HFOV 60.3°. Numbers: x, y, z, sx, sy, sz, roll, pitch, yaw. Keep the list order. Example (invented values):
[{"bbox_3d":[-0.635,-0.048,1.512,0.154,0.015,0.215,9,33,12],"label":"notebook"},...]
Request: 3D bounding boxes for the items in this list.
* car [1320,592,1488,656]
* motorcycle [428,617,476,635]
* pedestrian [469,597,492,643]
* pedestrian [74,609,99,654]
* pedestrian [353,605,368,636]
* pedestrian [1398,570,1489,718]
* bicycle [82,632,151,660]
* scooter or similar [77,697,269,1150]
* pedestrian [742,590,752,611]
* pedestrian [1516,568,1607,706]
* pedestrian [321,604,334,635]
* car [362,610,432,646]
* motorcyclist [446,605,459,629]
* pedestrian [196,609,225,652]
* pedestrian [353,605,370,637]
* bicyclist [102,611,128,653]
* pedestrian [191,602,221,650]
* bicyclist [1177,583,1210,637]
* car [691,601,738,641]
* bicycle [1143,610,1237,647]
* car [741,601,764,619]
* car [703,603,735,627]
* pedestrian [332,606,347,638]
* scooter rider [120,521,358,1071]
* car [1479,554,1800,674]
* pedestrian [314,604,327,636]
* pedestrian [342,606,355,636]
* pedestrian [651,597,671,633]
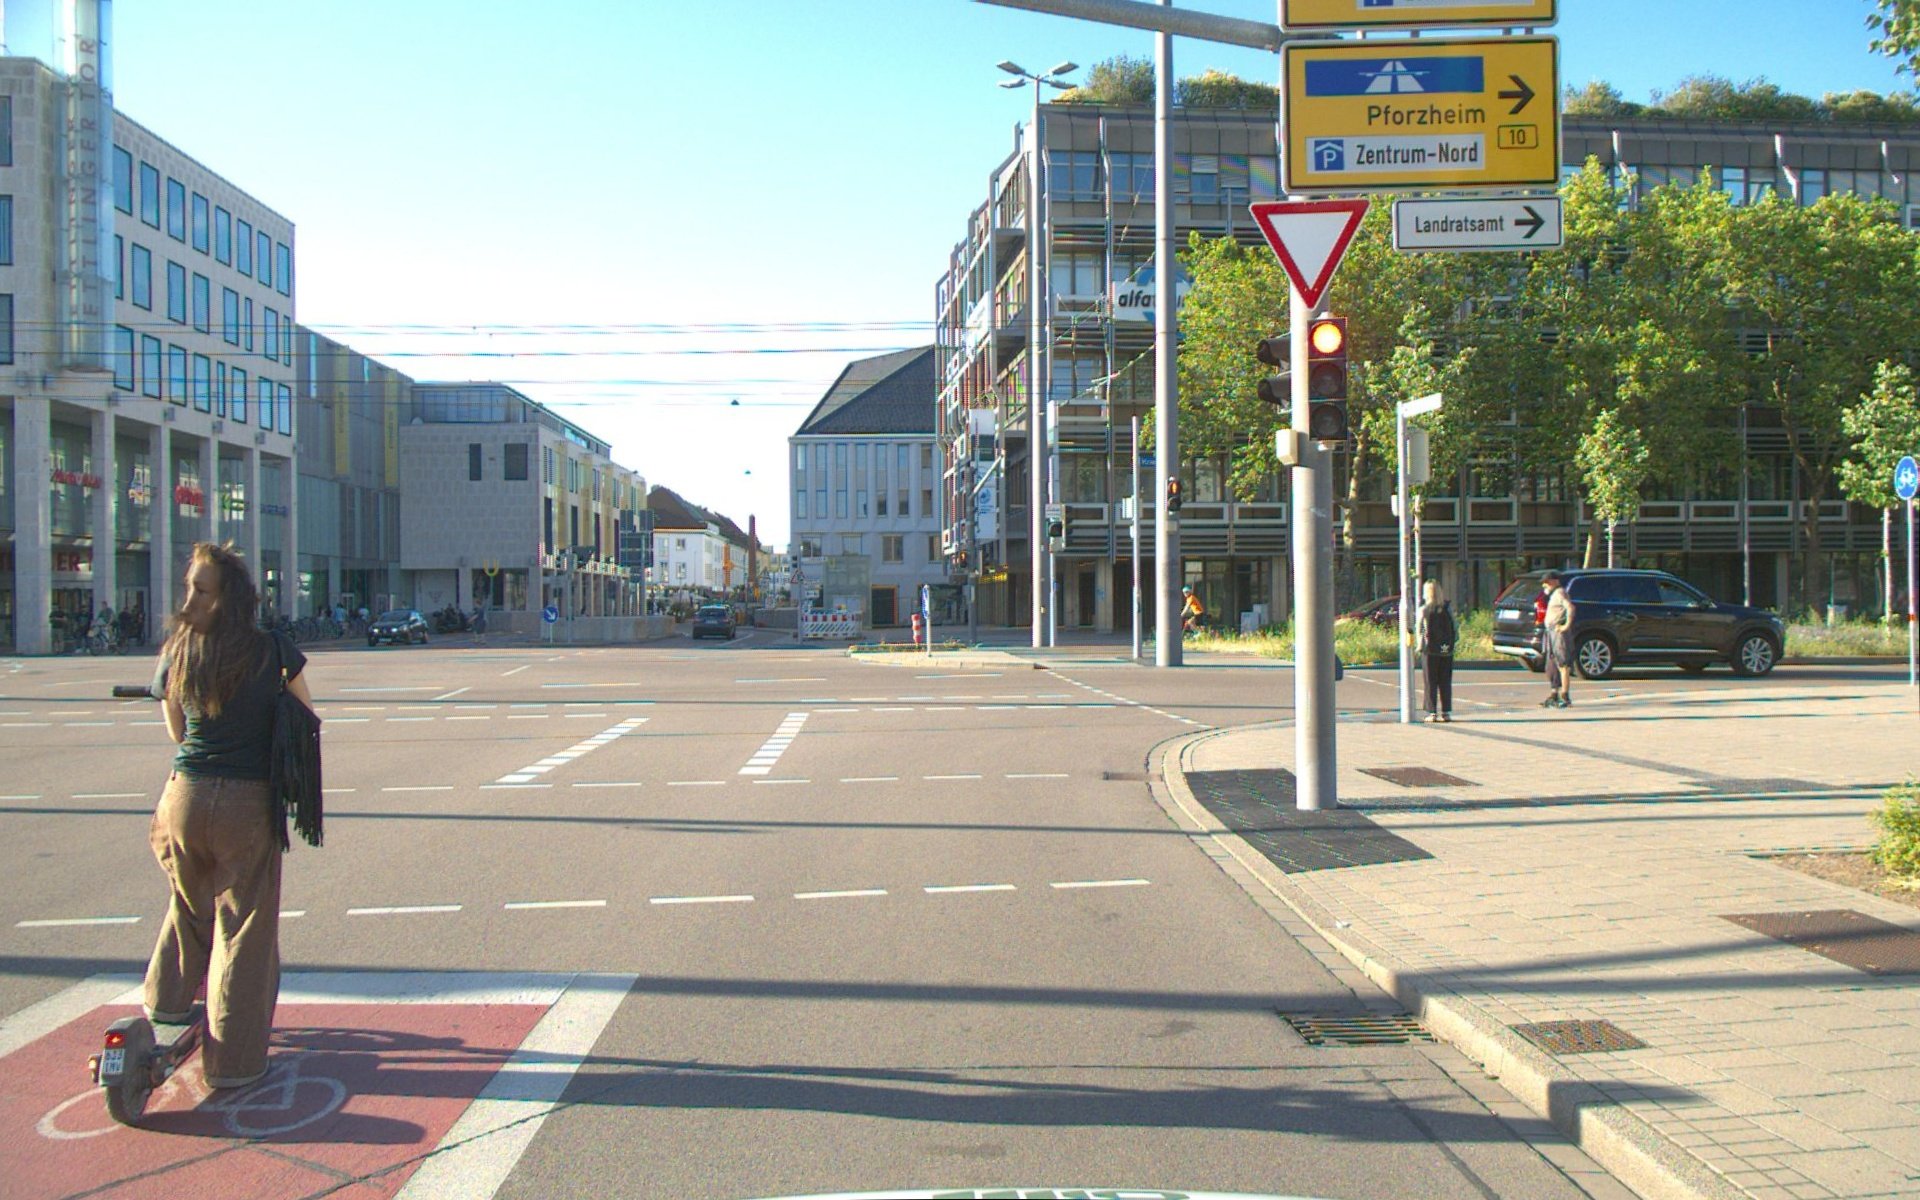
[{"bbox_3d":[12.482,0.649,46.623,4.212,1.713,1.820,-1,0,-11],"label":"car"},{"bbox_3d":[-29.962,1.538,97.572,2.555,1.010,1.113,1,0,-10],"label":"motorcycle"},{"bbox_3d":[-18.216,0.749,62.883,0.685,1.718,0.619,-1,0,0],"label":"pedestrian"},{"bbox_3d":[-32.721,1.169,61.945,0.580,1.674,0.629,-1,0,-1],"label":"pedestrian"},{"bbox_3d":[-34.521,1.164,95.275,0.461,1.759,0.627,1,-1,28],"label":"pedestrian"},{"bbox_3d":[5.539,0.491,18.996,0.750,1.642,0.874,-1,0,-2],"label":"pedestrian"},{"bbox_3d":[-29.934,1.625,58.709,0.623,0.919,2.215,-1,0,28],"label":"bicycle"},{"bbox_3d":[-2.240,0.870,4.760,0.301,1.127,0.836,-1,0,-12],"label":"scooter or similar"},{"bbox_3d":[-21.158,0.064,164.359,0.892,1.999,0.822,1,-1,-1],"label":"pedestrian"},{"bbox_3d":[7.721,0.467,21.267,0.854,1.736,0.768,-1,0,-3],"label":"pedestrian"},{"bbox_3d":[-36.326,1.132,95.010,0.462,1.759,0.518,0,-1,38],"label":"pedestrian"},{"bbox_3d":[-23.588,1.154,69.459,1.642,1.381,4.019,-1,0,-2],"label":"car"},{"bbox_3d":[-29.965,0.998,97.614,0.616,1.430,0.661,1,-1,-9],"label":"motorcyclist"},{"bbox_3d":[-29.247,1.176,64.545,0.760,1.667,0.626,-1,0,13],"label":"pedestrian"},{"bbox_3d":[-33.632,1.170,92.950,0.462,1.759,0.692,0,-1,37],"label":"pedestrian"},{"bbox_3d":[-29.972,1.136,58.665,0.614,1.473,0.588,-1,0,26],"label":"bicyclist"},{"bbox_3d":[-30.004,1.049,65.808,0.923,1.897,0.539,-1,0,16],"label":"pedestrian"},{"bbox_3d":[6.674,0.281,47.221,0.806,1.500,0.652,-1,0,-5],"label":"bicyclist"},{"bbox_3d":[-10.897,0.895,73.623,1.784,1.713,3.996,-1,0,-5],"label":"car"},{"bbox_3d":[6.546,0.799,47.203,2.517,0.992,1.047,-1,0,-4],"label":"bicycle"},{"bbox_3d":[-18.236,0.883,145.453,1.625,1.484,3.541,-1,0,-1],"label":"car"},{"bbox_3d":[-15.703,0.972,107.821,1.625,1.484,3.541,-1,0,-1],"label":"car"},{"bbox_3d":[-34.595,1.245,92.192,0.462,1.759,0.626,1,-1,33],"label":"pedestrian"},{"bbox_3d":[-2.142,0.553,4.959,0.542,1.556,0.448,-1,0,-9],"label":"scooter rider"},{"bbox_3d":[11.380,0.215,27.813,4.728,1.896,1.882,-1,0,-10],"label":"car"},{"bbox_3d":[-36.139,1.129,93.455,0.462,1.759,0.518,0,-1,38],"label":"pedestrian"},{"bbox_3d":[-35.196,1.204,95.180,0.462,1.712,0.518,0,-1,38],"label":"pedestrian"},{"bbox_3d":[-15.353,0.753,84.831,0.881,1.814,0.808,0,0,-1],"label":"pedestrian"}]
